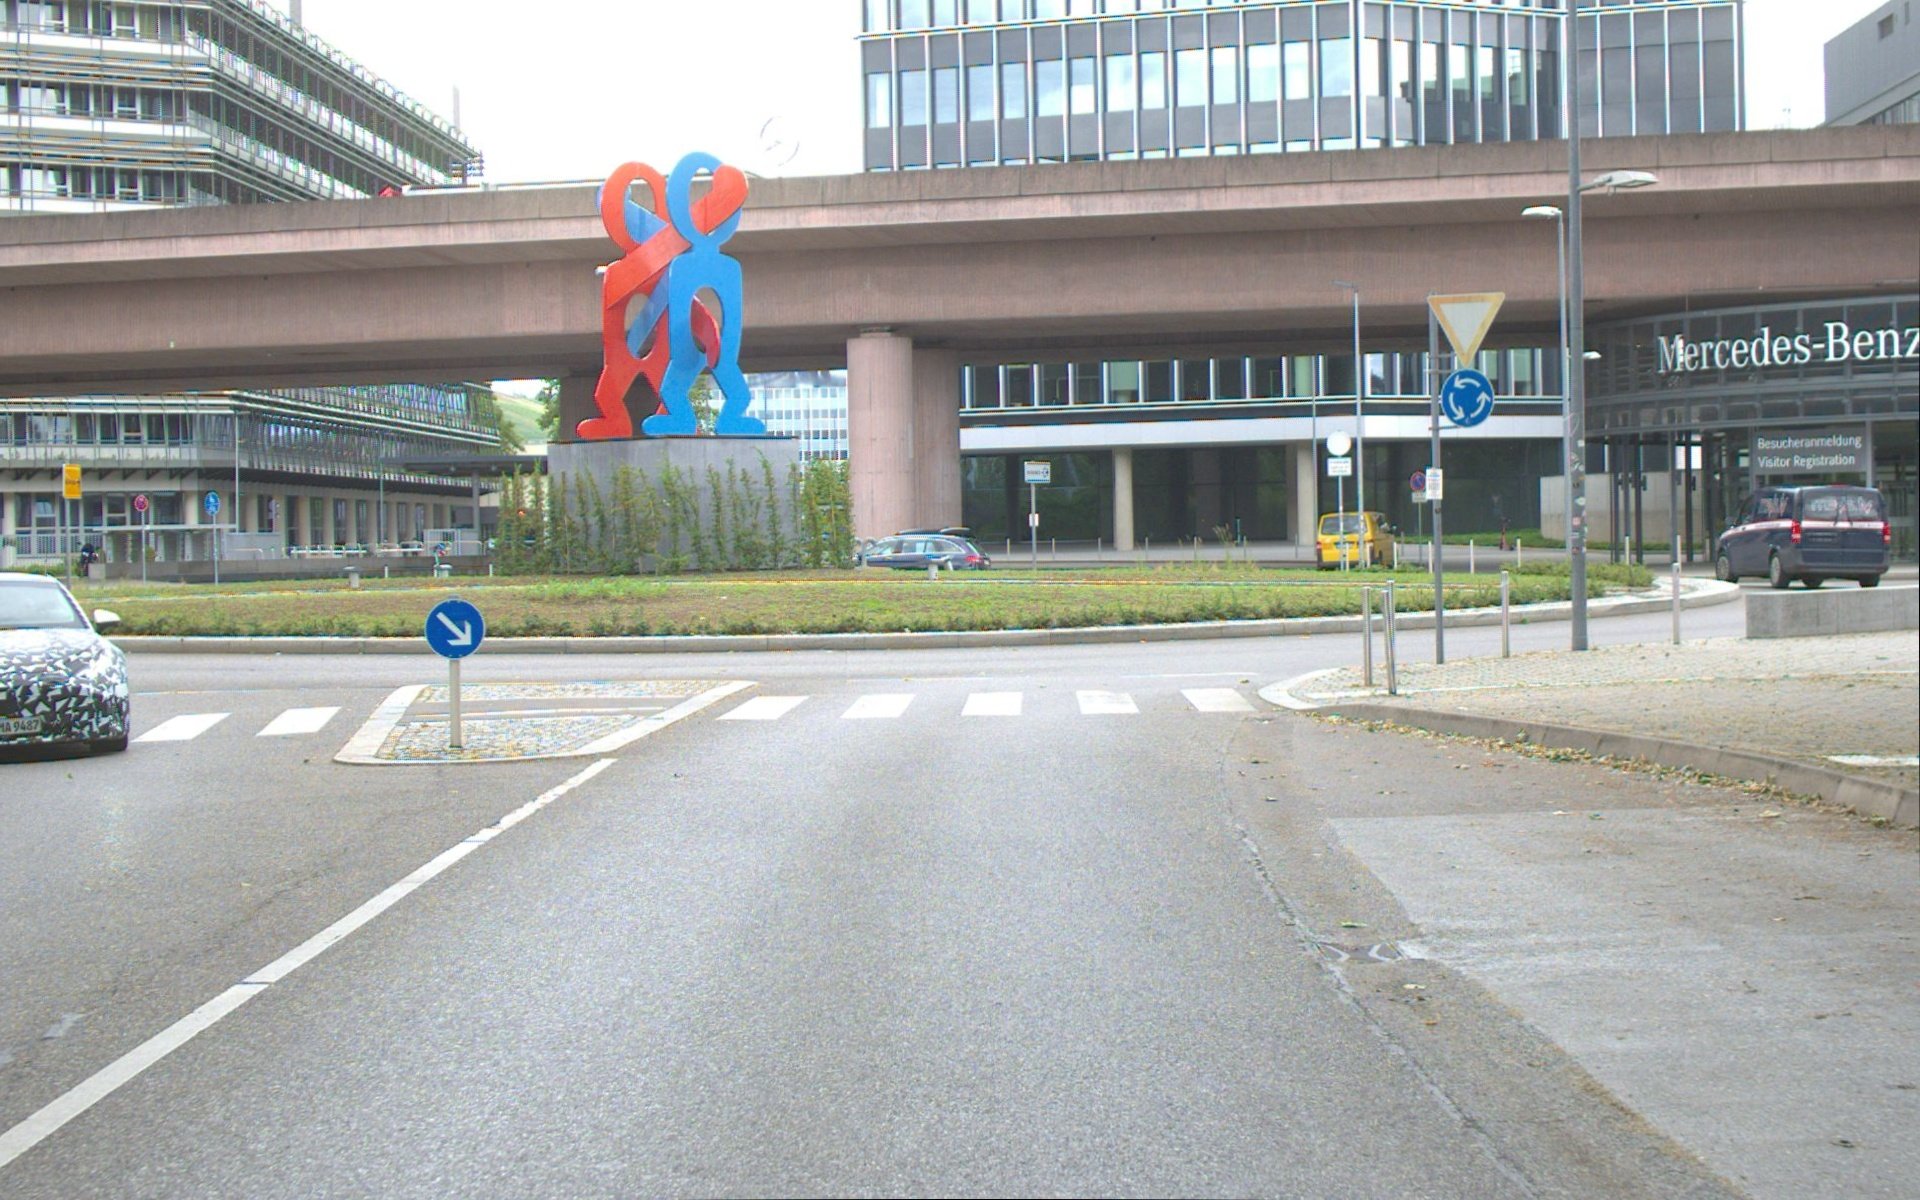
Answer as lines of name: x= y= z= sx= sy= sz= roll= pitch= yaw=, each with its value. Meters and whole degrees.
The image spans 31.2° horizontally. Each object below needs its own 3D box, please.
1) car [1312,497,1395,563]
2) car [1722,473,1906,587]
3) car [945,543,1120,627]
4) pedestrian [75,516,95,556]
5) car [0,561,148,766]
car: x=12.239 y=-2.160 z=106.736 sx=1.995 sy=2.007 sz=3.997 roll=0 pitch=1 yaw=15
car: x=15.594 y=-1.260 z=63.030 sx=2.276 sy=2.007 sz=4.783 roll=0 pitch=1 yaw=1
car: x=1.696 y=-0.367 z=80.192 sx=3.724 sy=1.919 sz=1.920 roll=0 pitch=1 yaw=16
pedestrian: x=-43.375 y=-3.174 z=170.397 sx=0.776 sy=2.007 sz=0.671 roll=-1 pitch=1 yaw=-2
car: x=-7.898 y=0.456 z=27.323 sx=1.900 sy=1.448 sz=4.816 roll=-3 pitch=2 yaw=-24
